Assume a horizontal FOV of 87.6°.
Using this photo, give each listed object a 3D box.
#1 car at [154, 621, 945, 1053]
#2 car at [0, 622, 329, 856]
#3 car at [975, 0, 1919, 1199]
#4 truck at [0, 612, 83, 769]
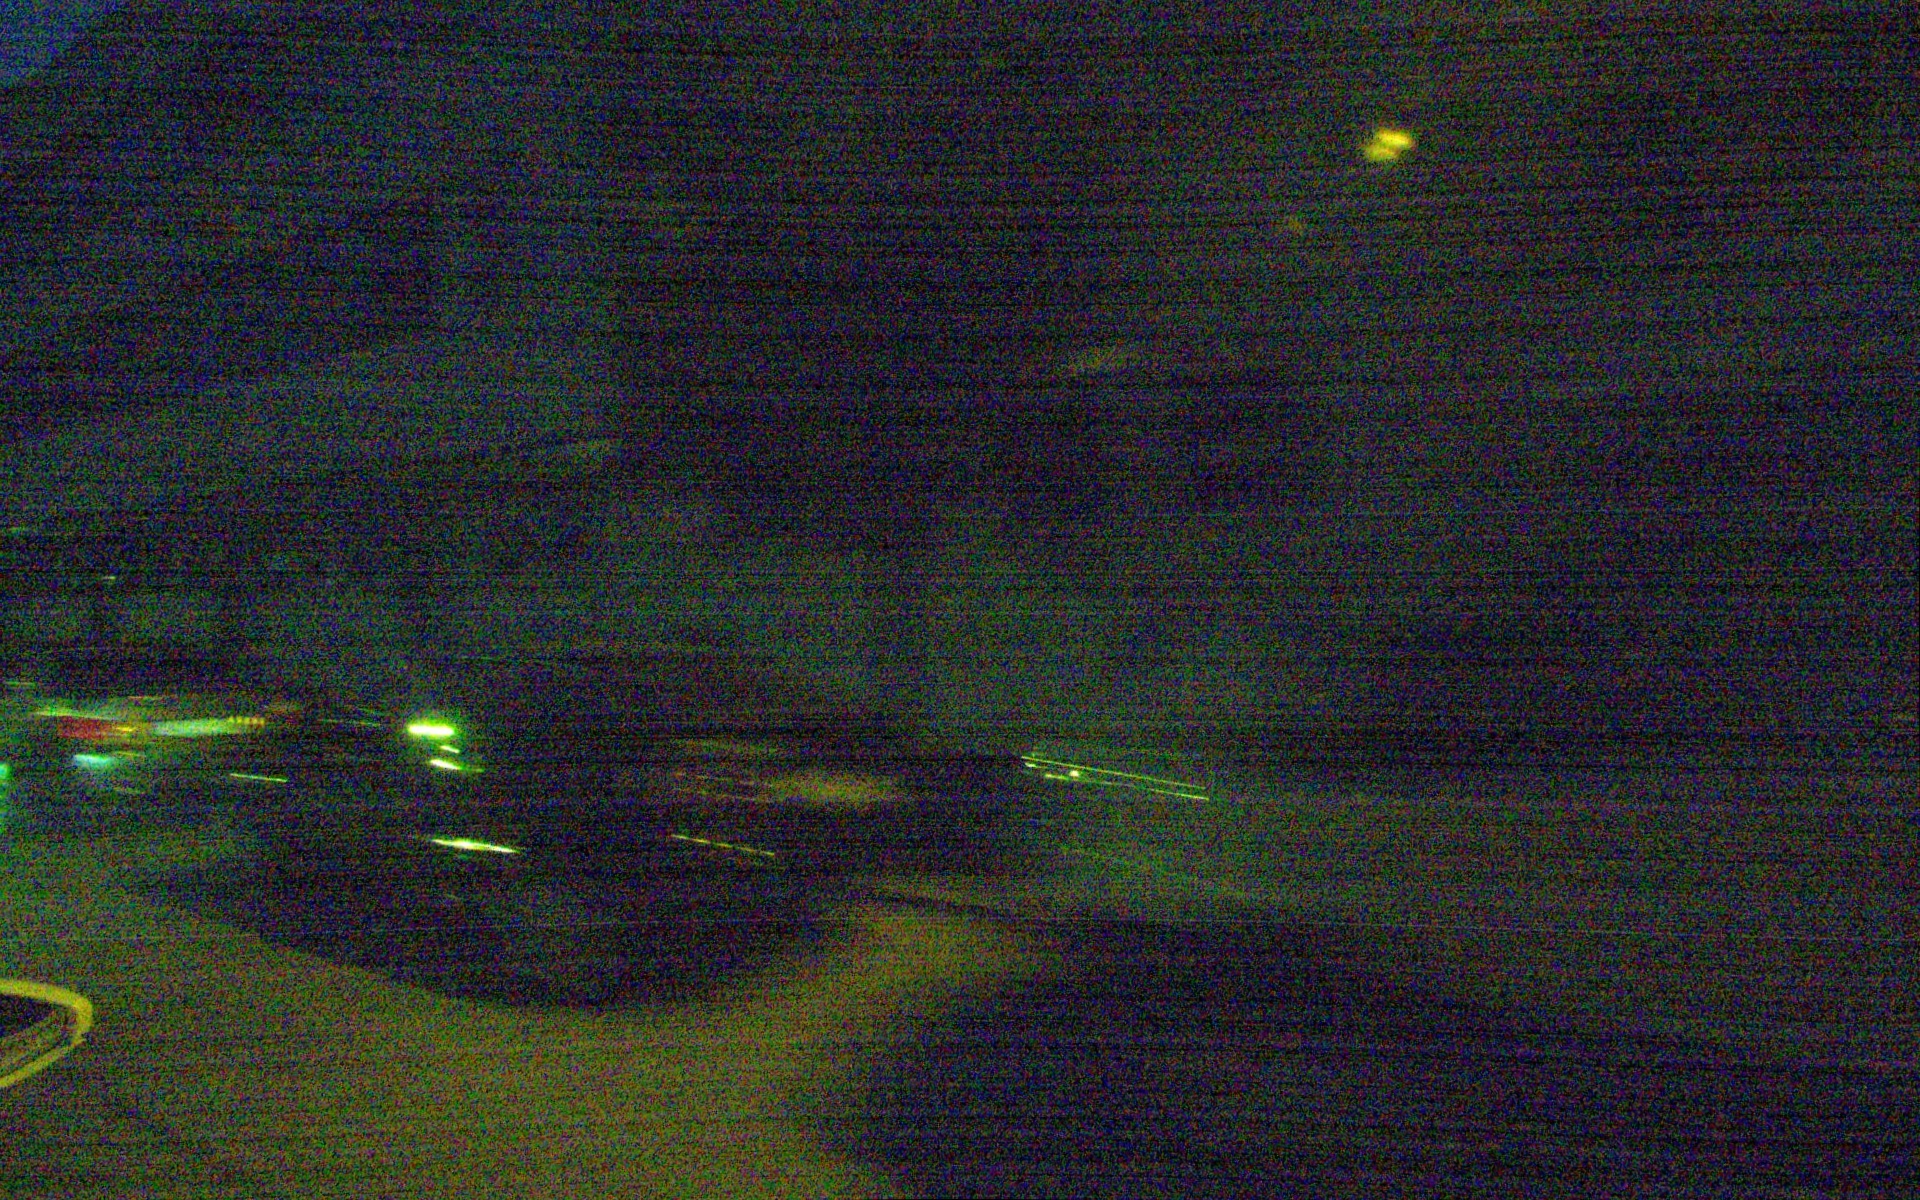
[{"bbox_3d":[-2.416,0.848,5.374,4.488,1.430,1.765,-1,-1,34],"label":"car"},{"bbox_3d":[-7.768,0.966,8.696,4.938,1.509,1.942,-1,-1,32],"label":"car"},{"bbox_3d":[2.990,0.258,1.857,5.831,2.557,1.989,-1,-3,36],"label":"car"},{"bbox_3d":[-11.801,1.006,11.611,3.757,1.666,1.368,-1,0,31],"label":"truck"}]
